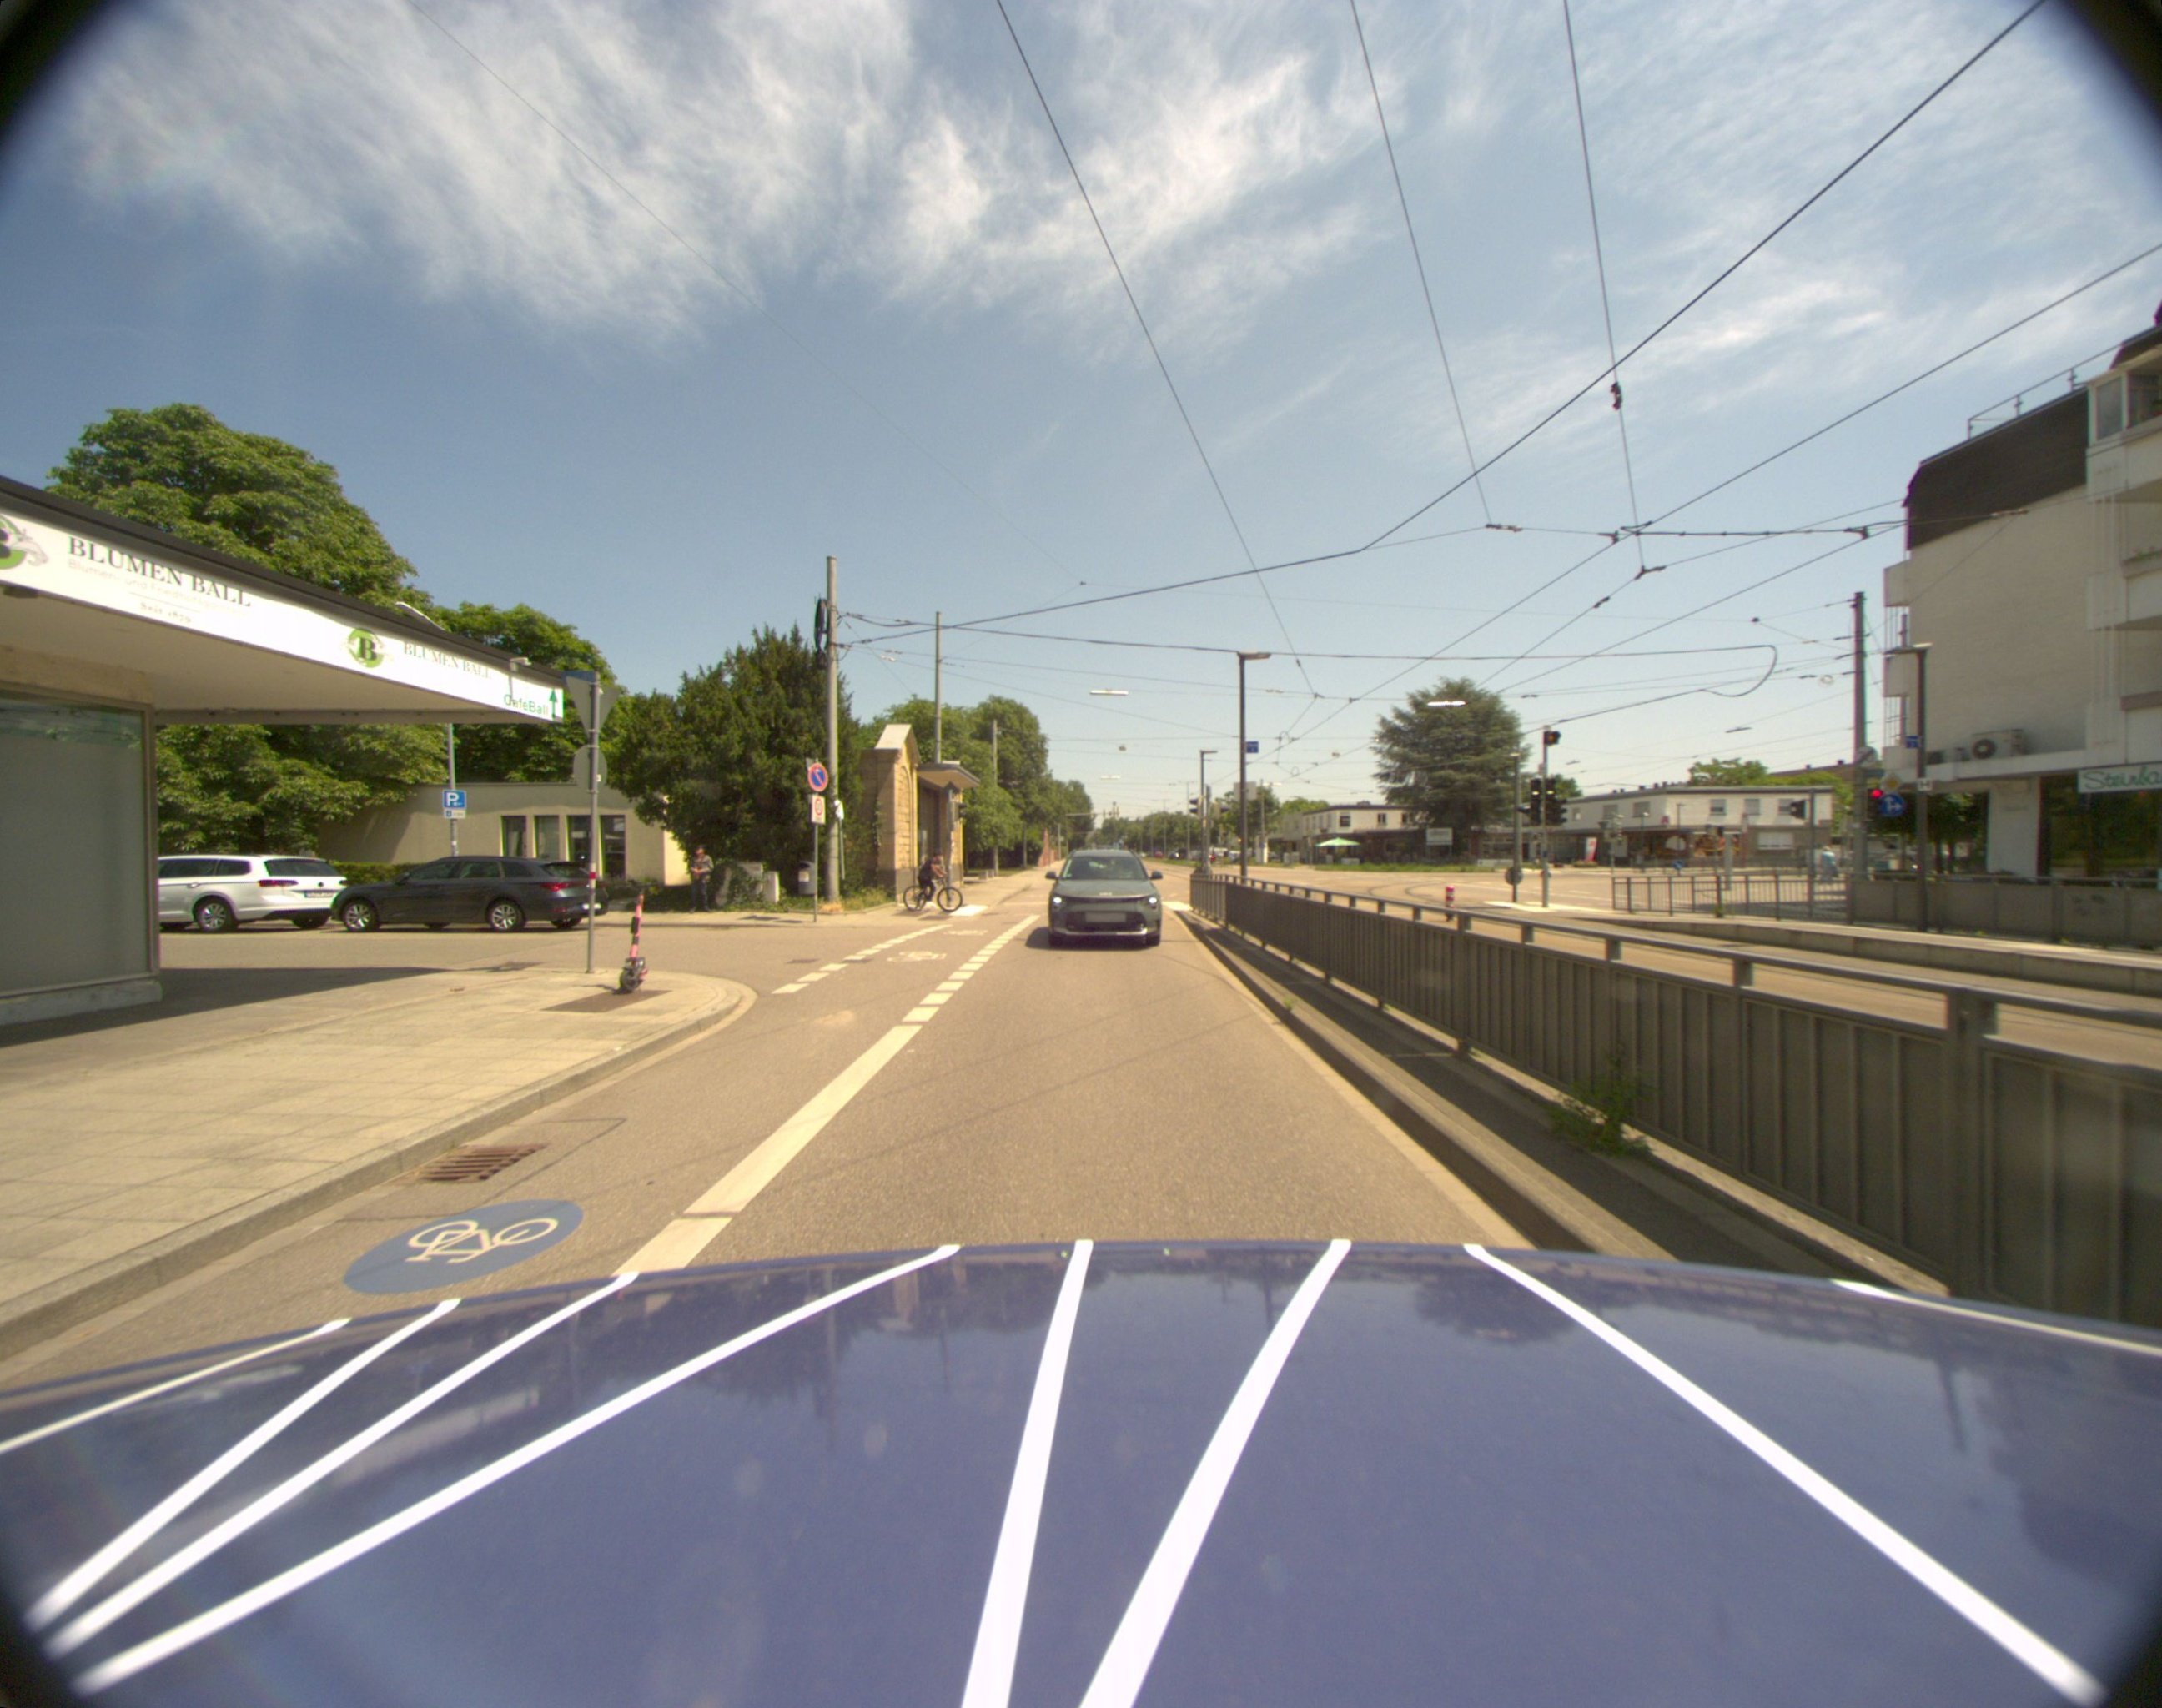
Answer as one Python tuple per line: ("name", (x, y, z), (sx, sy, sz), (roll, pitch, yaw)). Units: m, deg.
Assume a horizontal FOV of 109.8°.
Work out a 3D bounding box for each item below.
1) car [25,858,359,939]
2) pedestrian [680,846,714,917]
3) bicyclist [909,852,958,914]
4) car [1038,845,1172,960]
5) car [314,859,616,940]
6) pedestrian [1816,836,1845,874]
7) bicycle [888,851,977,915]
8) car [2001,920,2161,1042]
("car", (-16.823, 0.816, 14.534), (4.462, 1.449, 1.595), (0, 0, -1))
("pedestrian", (-8.796, 0.621, 17.398), (0.536, 1.589, 0.425), (-2, 1, -12))
("bicyclist", (-3.929, 0.771, 20.218), (0.987, 1.569, 0.866), (3, 1, -31))
("car", (0.371, 0.648, 12.726), (1.827, 1.547, 4.486), (-1, 1, 1))
("car", (-11.609, 0.830, 14.506), (4.461, 1.449, 1.595), (0, 0, 0))
("pedestrian", (33.513, 0.032, 33.980), (0.577, 1.705, 0.646), (0, 1, 1))
("bicycle", (-3.938, 0.779, 20.216), (2.054, 1.580, 0.888), (3, 1, -31))
("car", (16.099, 1.889, 10.611), (1.696, 1.477, 4.000), (-2, 1, 1))
